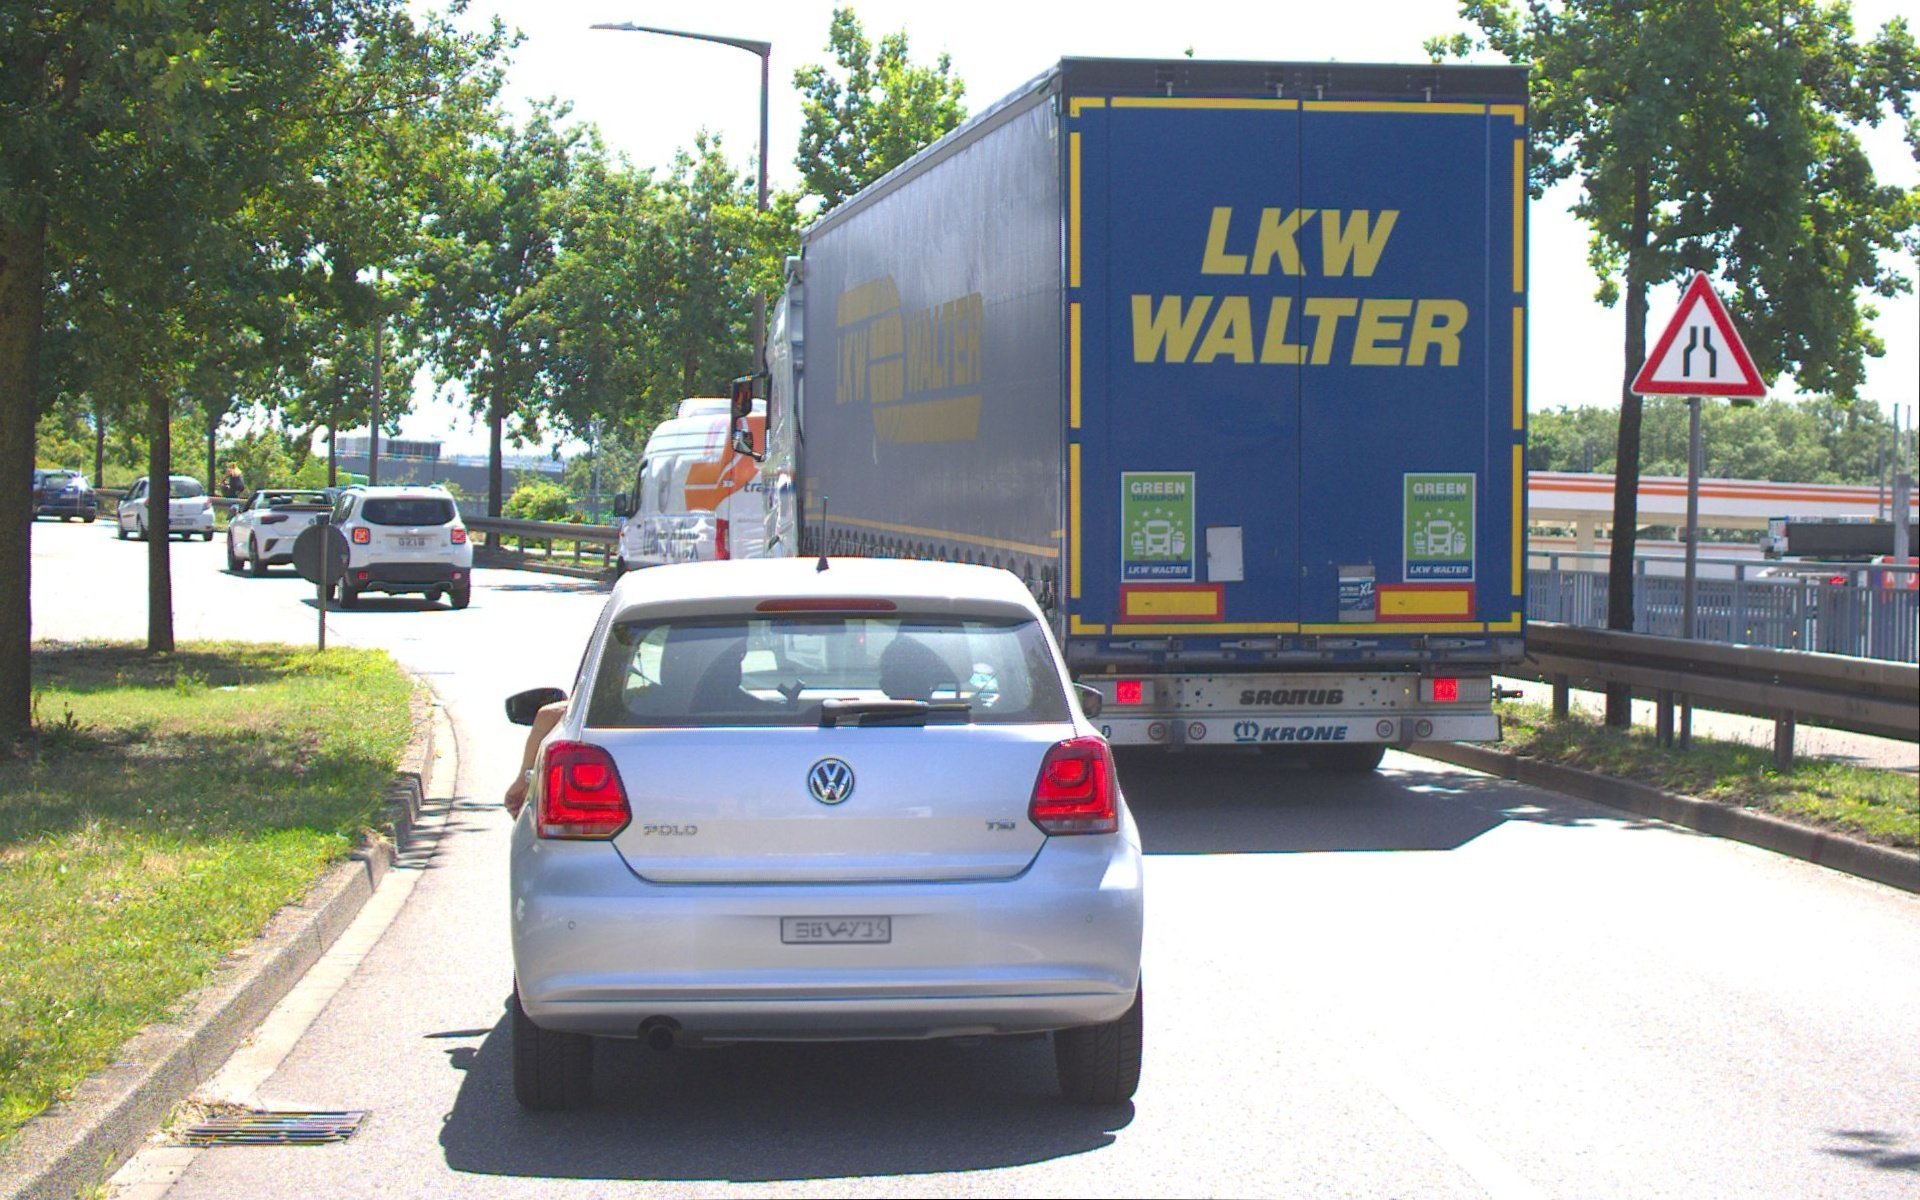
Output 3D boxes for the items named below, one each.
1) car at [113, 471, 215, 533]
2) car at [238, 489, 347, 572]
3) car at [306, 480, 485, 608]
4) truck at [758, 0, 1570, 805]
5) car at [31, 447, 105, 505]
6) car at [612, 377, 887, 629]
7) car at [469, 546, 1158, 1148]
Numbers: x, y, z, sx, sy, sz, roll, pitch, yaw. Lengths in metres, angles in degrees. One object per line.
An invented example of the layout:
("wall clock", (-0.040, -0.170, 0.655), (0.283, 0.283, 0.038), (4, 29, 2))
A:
("car", (-18.410, -2.269, 79.460), (1.607, 1.355, 3.663), (1, 1, -24))
("car", (-11.569, -1.217, 59.440), (1.494, 1.355, 3.664), (1, 1, -16))
("car", (-8.039, -0.781, 48.687), (1.903, 1.712, 4.225), (1, 0, -17))
("truck", (0.616, -1.211, 26.280), (2.832, 4.184, 16.479), (1, 1, -8))
("car", (-24.362, -3.365, 93.852), (1.664, 1.460, 3.582), (1, 0, -19))
("car", (-2.757, -1.252, 43.188), (2.175, 2.890, 6.361), (1, 2, -15))
("car", (-0.370, 0.584, 10.101), (1.646, 1.434, 3.537), (1, 0, -1))
